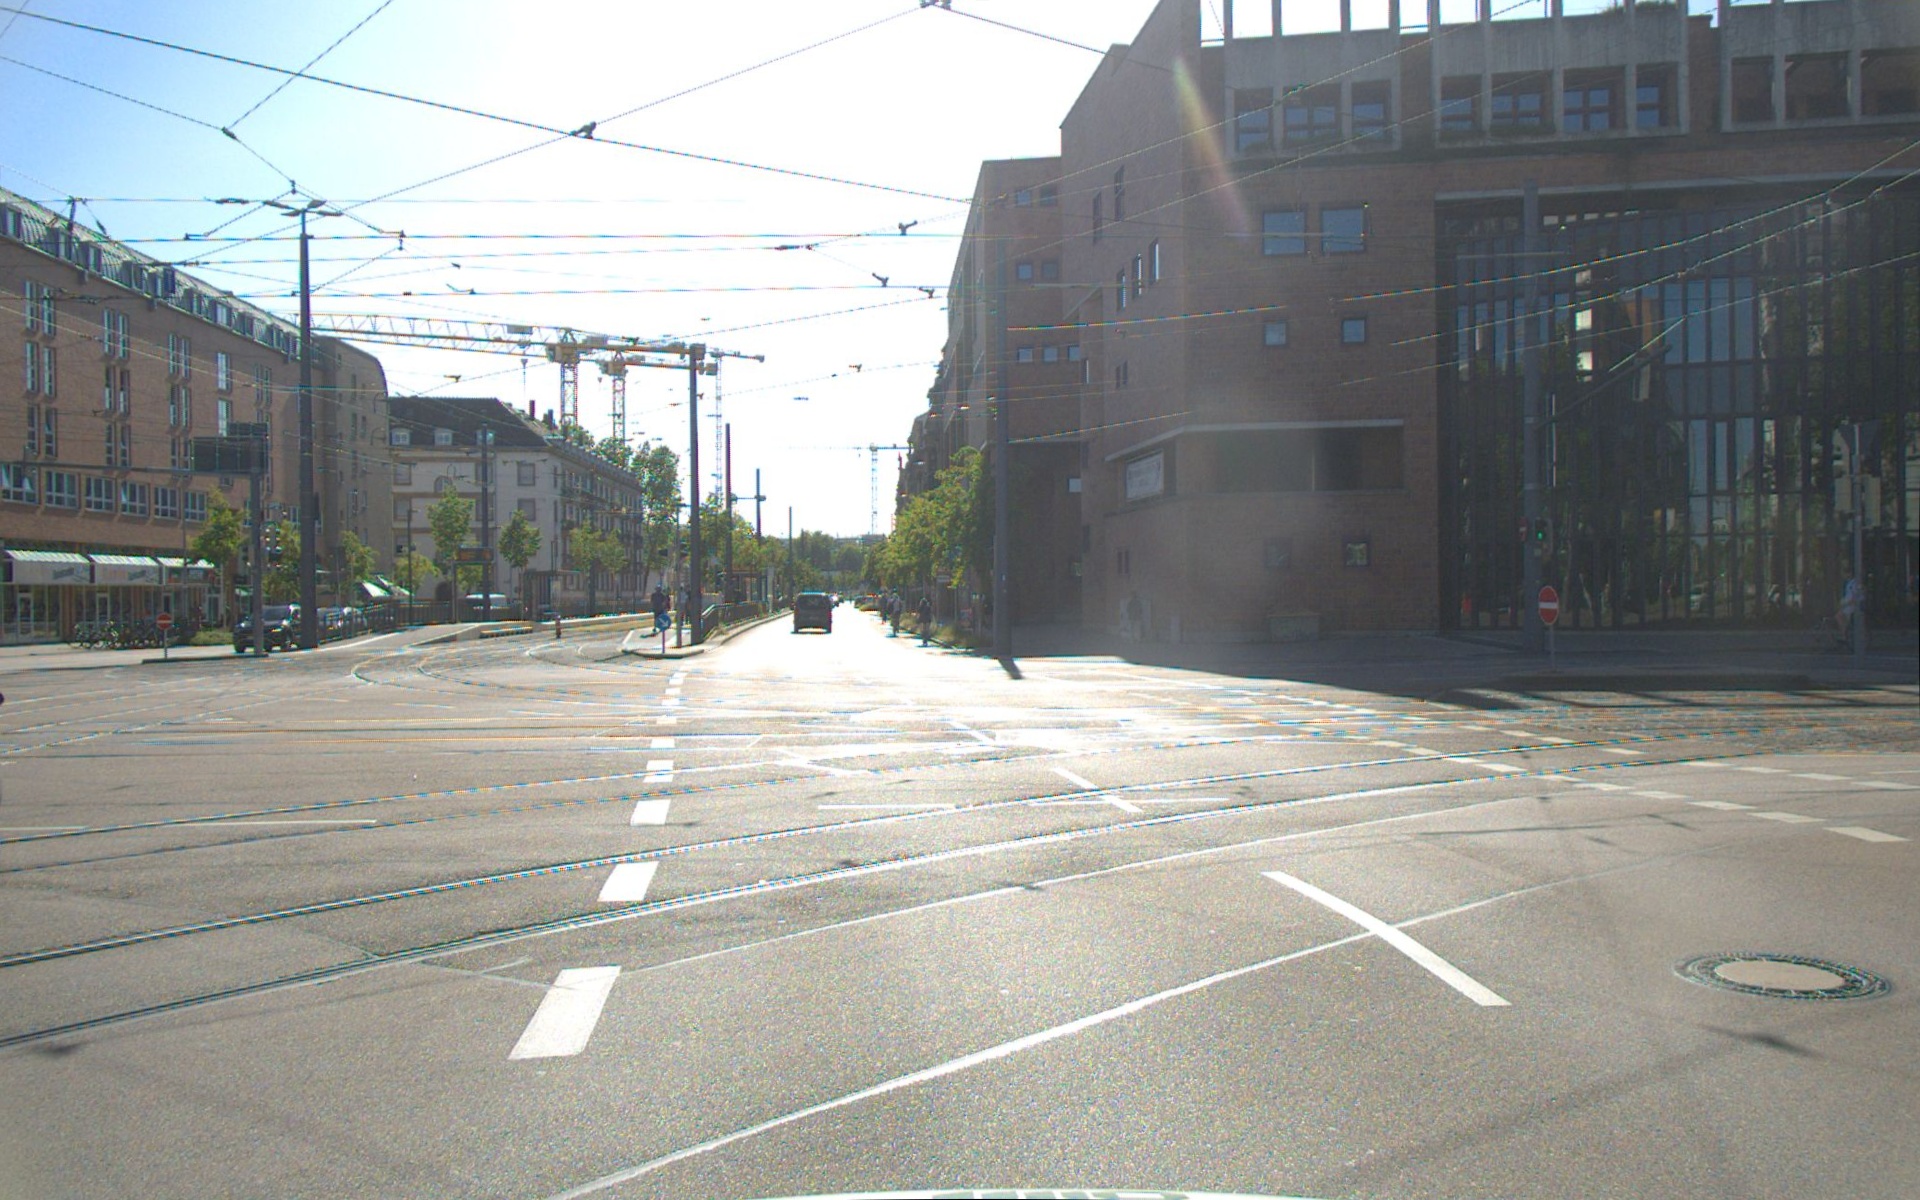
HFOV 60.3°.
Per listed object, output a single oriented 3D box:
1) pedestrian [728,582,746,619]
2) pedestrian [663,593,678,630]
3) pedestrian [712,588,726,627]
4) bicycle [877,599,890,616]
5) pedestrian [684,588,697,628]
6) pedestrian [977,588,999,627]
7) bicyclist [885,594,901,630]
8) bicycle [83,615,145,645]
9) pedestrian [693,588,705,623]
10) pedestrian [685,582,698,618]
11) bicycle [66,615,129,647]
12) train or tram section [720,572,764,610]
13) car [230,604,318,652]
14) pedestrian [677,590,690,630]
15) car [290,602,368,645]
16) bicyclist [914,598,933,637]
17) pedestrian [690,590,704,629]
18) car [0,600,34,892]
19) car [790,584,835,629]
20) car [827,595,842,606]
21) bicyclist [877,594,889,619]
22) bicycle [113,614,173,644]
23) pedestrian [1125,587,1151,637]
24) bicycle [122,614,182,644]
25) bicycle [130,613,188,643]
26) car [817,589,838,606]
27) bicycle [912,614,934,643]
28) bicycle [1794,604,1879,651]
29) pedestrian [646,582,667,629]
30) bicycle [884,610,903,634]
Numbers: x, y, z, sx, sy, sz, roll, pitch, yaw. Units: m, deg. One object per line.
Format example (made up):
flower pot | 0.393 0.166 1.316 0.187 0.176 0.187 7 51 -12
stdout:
pedestrian | -10.770 0.034 79.850 0.706 1.765 0.598 -1 0 -23
pedestrian | -12.519 0.480 71.542 0.589 1.594 0.913 -1 0 -6
pedestrian | -10.450 0.317 71.731 0.528 1.684 0.705 -1 0 -6
bicycle | -4.773 0.471 102.933 0.654 1.002 2.582 0 0 -6
pedestrian | -12.287 0.348 75.448 0.528 1.804 0.632 -1 0 -7
pedestrian | 1.272 0.343 74.819 0.863 1.747 0.930 -1 0 -7
bicyclist | -2.937 0.522 72.571 0.654 1.553 0.706 0 0 -7
bicycle | -38.064 1.352 74.419 2.432 1.333 0.734 -1 0 5
pedestrian | -12.663 0.257 80.306 0.528 1.684 0.632 -1 0 -7
pedestrian | -11.751 0.011 72.334 0.509 1.578 0.599 -1 0 -9
bicycle | -38.011 1.364 72.923 2.432 1.333 0.734 -1 0 5
train or tram section | -18.282 -0.757 139.593 2.279 3.055 13.156 0 1 -1
car | -23.928 0.939 57.829 1.578 1.422 3.916 -5 1 -4
pedestrian | -11.890 0.421 71.199 0.500 1.684 0.760 -1 0 -6
car | -24.547 0.901 64.517 1.578 1.422 4.224 -5 1 -4
bicyclist | -1.315 0.626 59.586 0.581 1.359 0.932 0 0 -6
pedestrian | -11.383 0.403 71.480 0.528 1.684 0.895 -1 0 -6
car | -6.801 0.812 10.189 1.710 1.591 3.636 -1 1 -32
car | -6.888 0.299 76.852 1.955 1.982 3.995 -1 0 -6
car | -17.524 0.056 231.084 1.954 1.445 3.996 -1 1 -5
bicyclist | -4.782 0.410 102.934 0.654 1.553 0.706 0 0 -7
bicycle | -37.381 1.335 75.682 2.432 1.333 0.734 -1 0 5
pedestrian | 5.729 0.370 53.278 0.606 1.590 0.985 -1 0 -7
bicycle | -37.395 1.328 76.560 2.432 1.333 0.734 -1 0 5
bicycle | -37.550 1.318 77.549 2.432 1.333 0.734 -1 0 5
car | -13.518 -0.269 168.710 1.955 1.758 3.994 -1 0 -7
bicycle | -1.337 1.016 59.852 0.591 1.002 2.311 0 0 -6
bicycle | 19.687 0.603 37.155 1.639 1.012 0.671 -1 0 -12
pedestrian | -11.324 0.210 61.692 0.603 1.698 0.863 -3 1 -7
bicycle | -2.917 0.960 72.463 0.654 1.002 2.582 0 0 -6
